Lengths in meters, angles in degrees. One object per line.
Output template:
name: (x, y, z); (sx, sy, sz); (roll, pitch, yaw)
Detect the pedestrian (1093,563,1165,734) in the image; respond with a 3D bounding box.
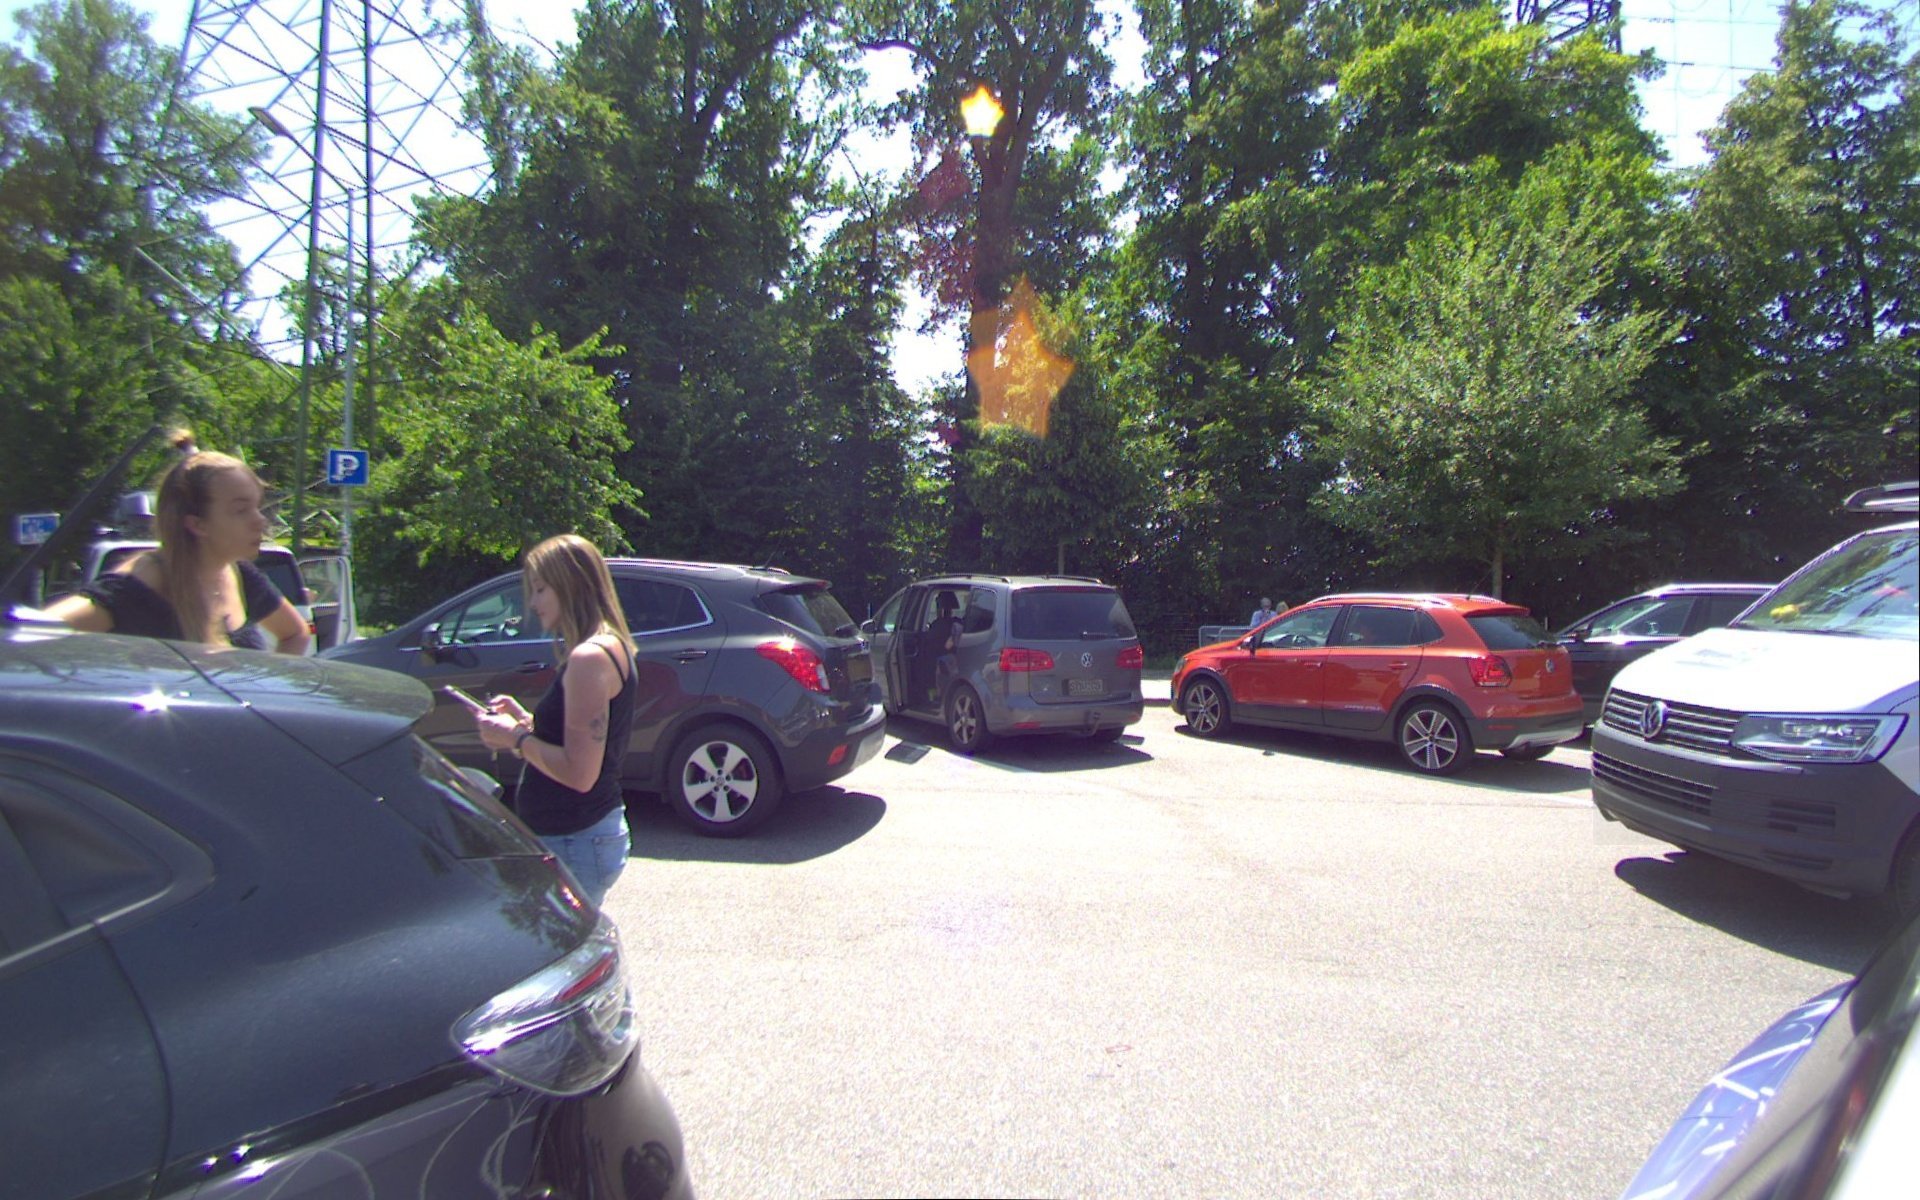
pedestrian: (1.766, 0.488, 10.620); (0.576, 1.744, 0.483); (0, 0, -20)

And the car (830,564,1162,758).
car: (0.170, 0.500, 10.628); (1.670, 1.637, 3.912); (0, 0, -30)

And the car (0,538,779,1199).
car: (-2.123, 0.695, 0.708); (1.775, 1.476, 3.630); (0, 1, 42)

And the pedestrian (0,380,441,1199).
pedestrian: (-1.776, 0.501, 2.473); (0.478, 1.883, 0.911); (1, 0, 4)

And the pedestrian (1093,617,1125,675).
pedestrian: (2.323, 0.708, 15.748); (0.494, 0.890, 0.512); (0, -2, 10)

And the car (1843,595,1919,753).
car: (10.468, 0.708, 8.914); (1.813, 1.473, 3.776); (1, 0, -36)

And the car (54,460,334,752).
car: (-8.344, 0.039, 10.810); (1.897, 2.400, 4.963); (1, 0, -43)

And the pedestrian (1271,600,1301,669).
pedestrian: (5.750, 0.602, 17.860); (0.348, 1.207, 0.367); (0, 0, -20)

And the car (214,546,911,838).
car: (-2.519, 0.510, 6.970); (4.097, 1.637, 1.834); (1, 0, 8)

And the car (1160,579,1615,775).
car: (3.846, 0.580, 9.681); (1.588, 1.485, 3.751); (1, 0, -34)

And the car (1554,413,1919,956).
car: (6.049, 0.348, 4.716); (5.336, 2.131, 1.842); (1, 1, 4)

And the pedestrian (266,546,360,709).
pedestrian: (-7.886, 0.315, 12.337); (0.826, 1.903, 0.774); (0, 0, -44)

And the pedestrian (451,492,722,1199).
pedestrian: (-0.960, 0.566, 2.601); (0.477, 1.614, 0.502); (1, -1, -44)

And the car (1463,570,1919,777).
car: (7.193, 0.576, 9.760); (1.679, 1.637, 3.863); (1, 0, -40)

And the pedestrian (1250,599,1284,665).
pedestrian: (5.781, 0.591, 19.062); (0.433, 1.207, 0.414); (0, 0, -30)
